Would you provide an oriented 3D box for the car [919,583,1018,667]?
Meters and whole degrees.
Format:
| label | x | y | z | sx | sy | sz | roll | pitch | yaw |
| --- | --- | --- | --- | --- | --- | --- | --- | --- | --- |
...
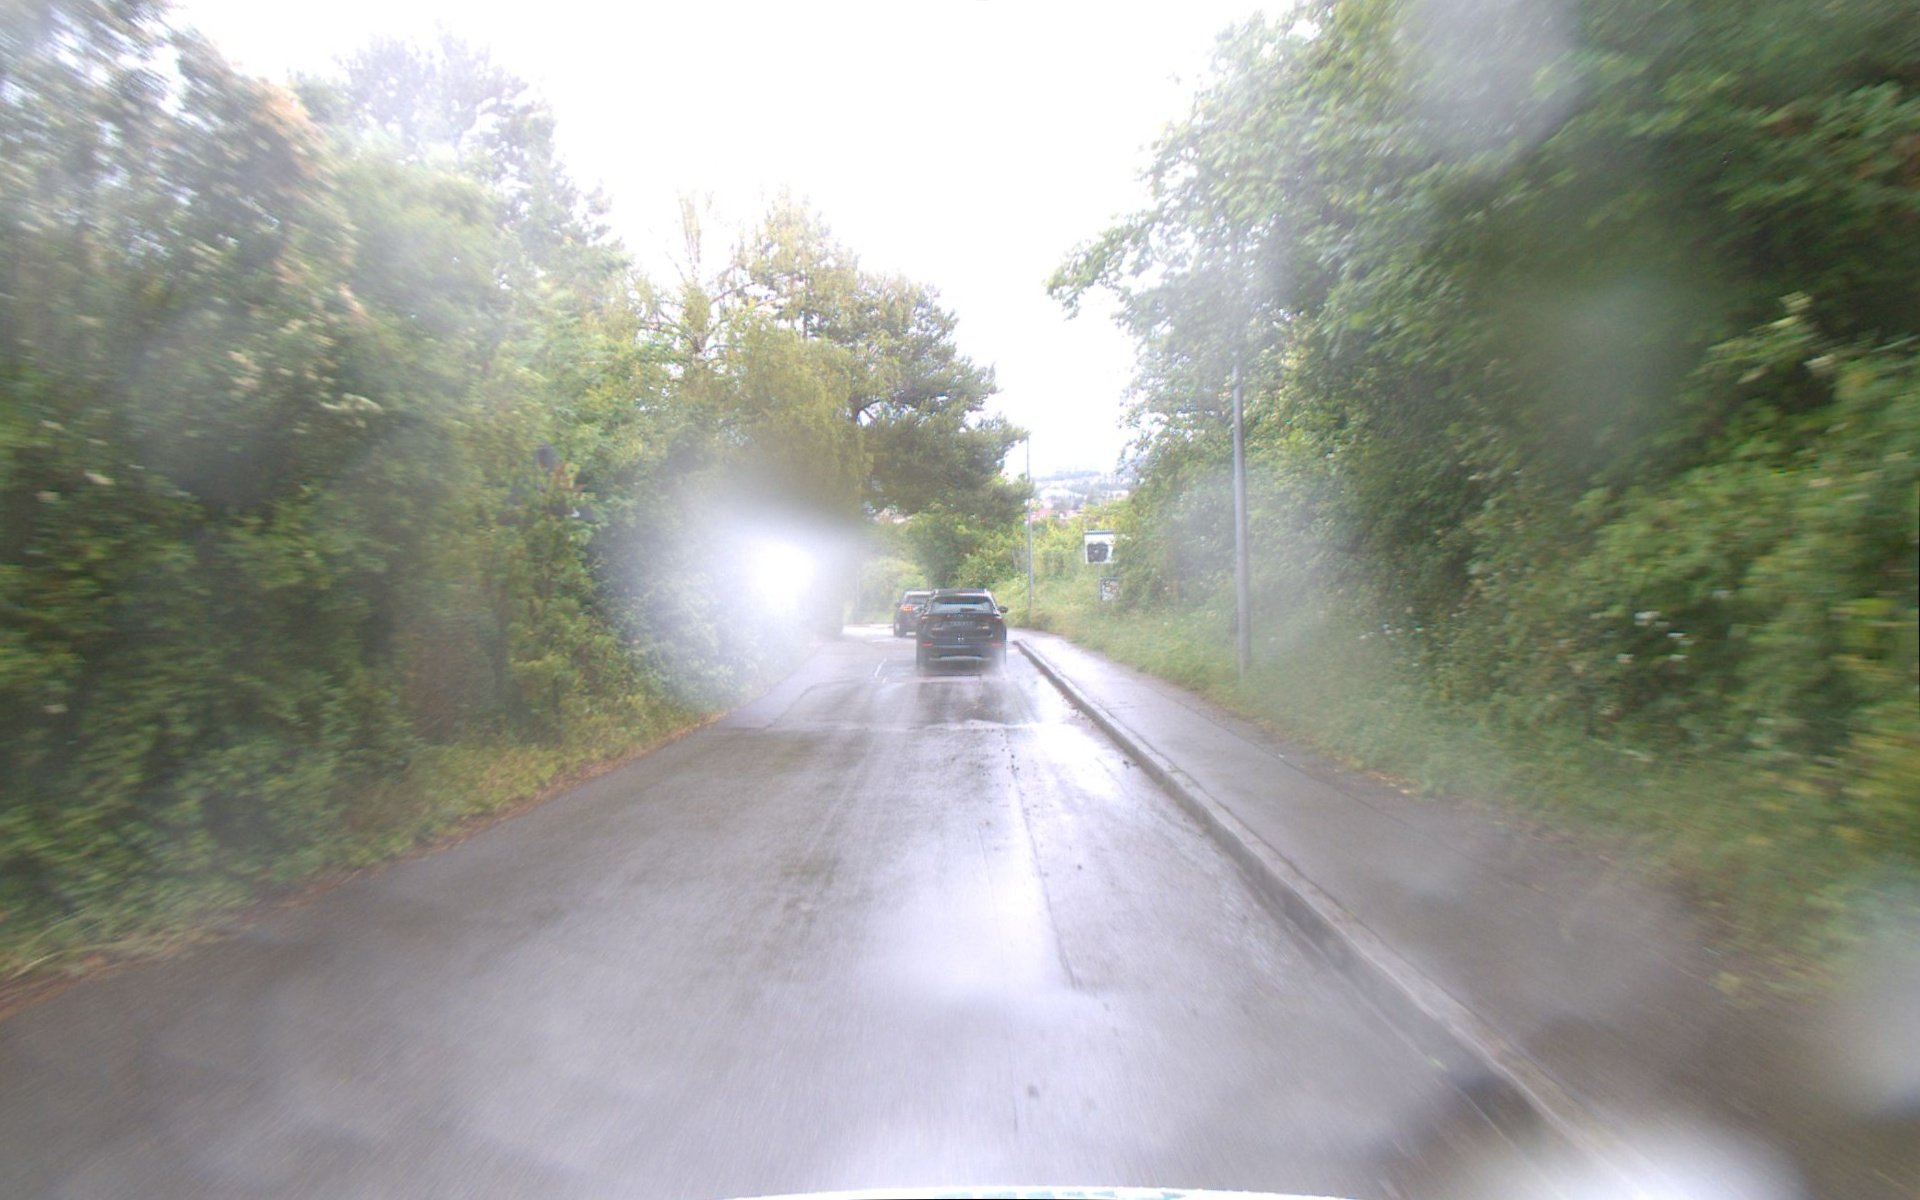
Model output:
| label | x | y | z | sx | sy | sz | roll | pitch | yaw |
| --- | --- | --- | --- | --- | --- | --- | --- | --- | --- |
| car | 0.104 | 0.460 | 32.483 | 1.798 | 1.489 | 3.999 | -1 | 0 | -2 |

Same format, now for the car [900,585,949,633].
| label | x | y | z | sx | sy | sz | roll | pitch | yaw |
| --- | --- | --- | --- | --- | --- | --- | --- | --- | --- |
| car | -1.228 | 0.272 | 56.728 | 1.644 | 1.592 | 3.793 | 0 | 0 | -2 |
